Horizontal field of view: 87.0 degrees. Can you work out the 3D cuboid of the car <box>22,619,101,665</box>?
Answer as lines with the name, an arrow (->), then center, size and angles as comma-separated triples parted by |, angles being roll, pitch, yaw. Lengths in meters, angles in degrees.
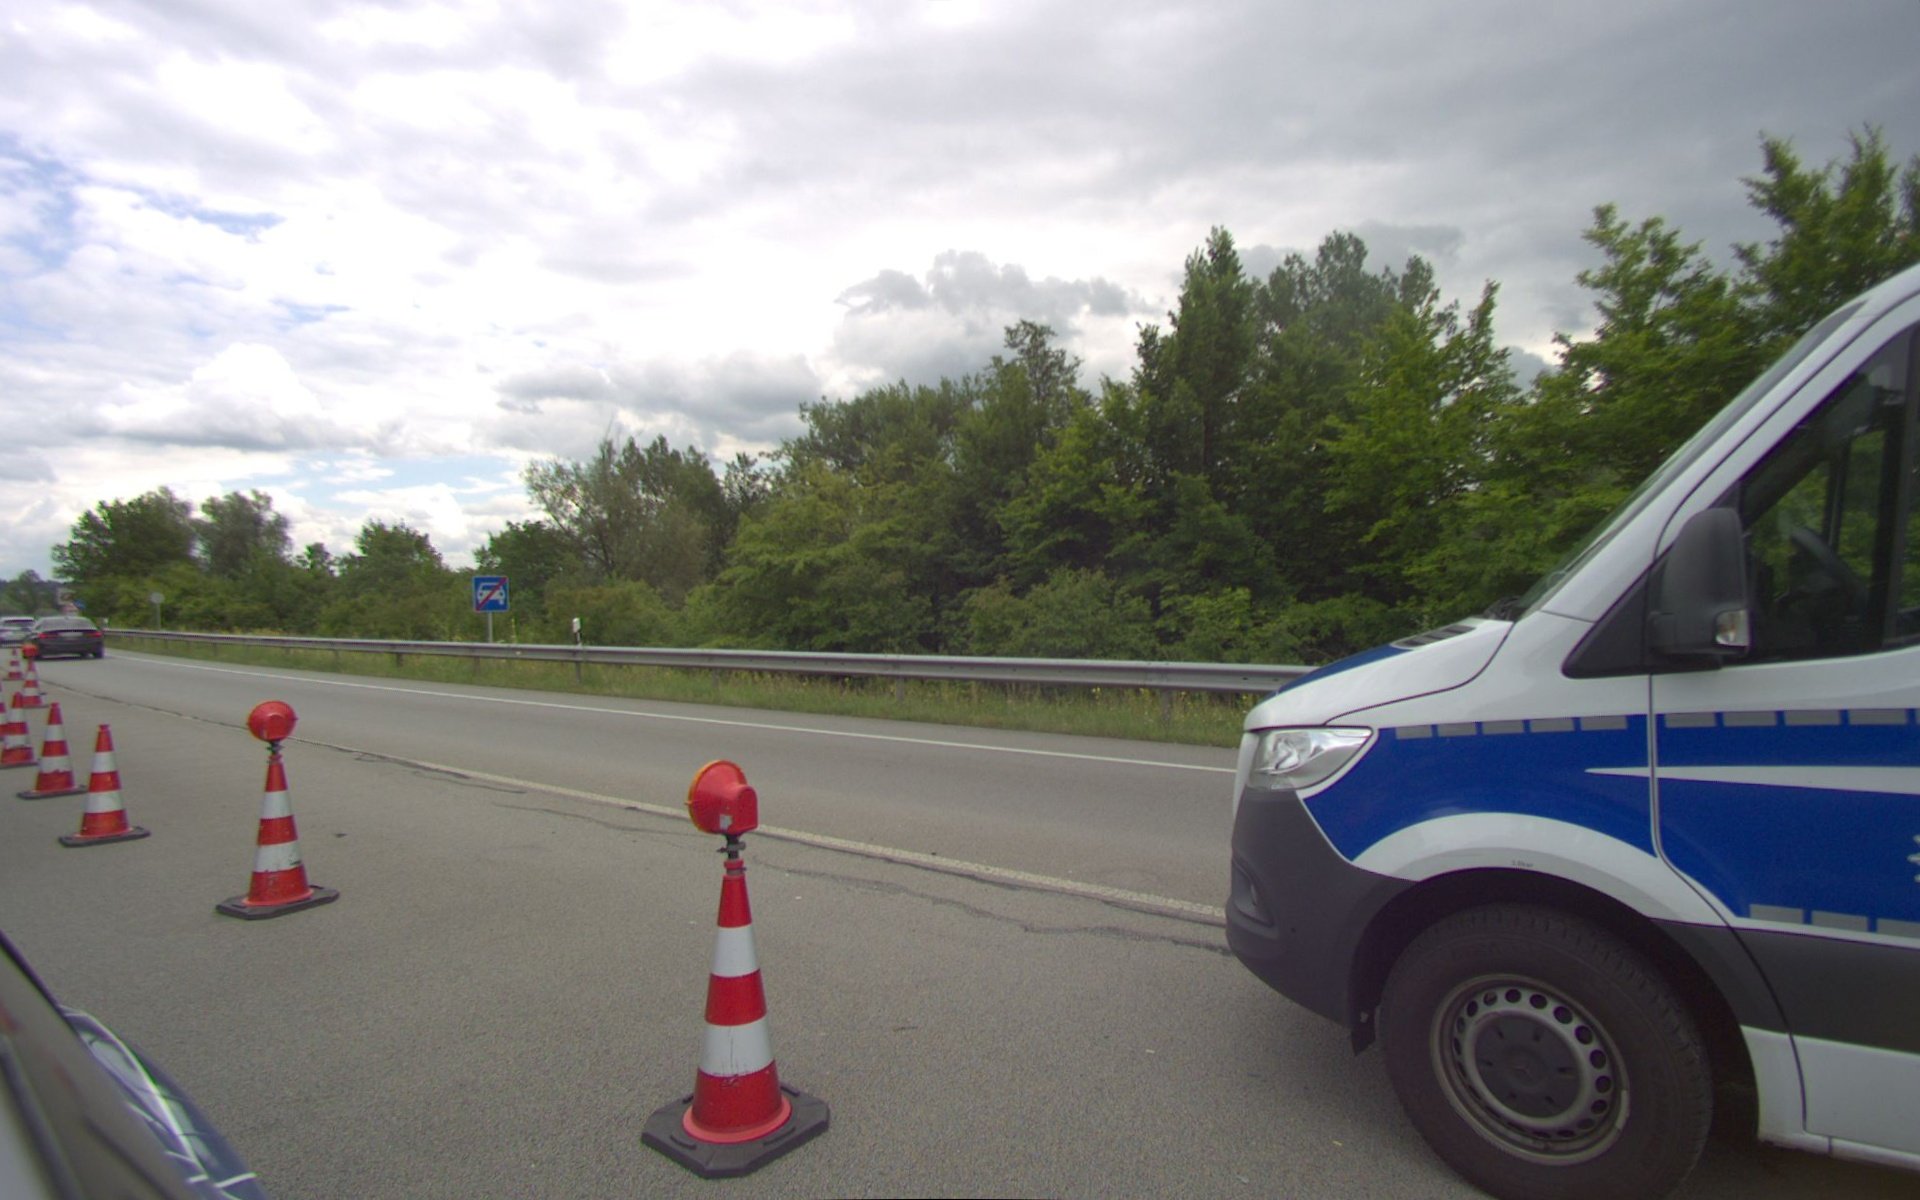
car -> -30.621, 1.398, 34.437 | 4.338, 1.447, 1.690 | -1, -1, 44

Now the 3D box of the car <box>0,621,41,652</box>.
car -> -44.758, 1.696, 47.610 | 4.370, 1.412, 1.662 | -1, -1, 39

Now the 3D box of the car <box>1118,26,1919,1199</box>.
car -> 3.159, 0.143, 2.122 | 5.272, 2.482, 2.010 | -1, -1, 38
